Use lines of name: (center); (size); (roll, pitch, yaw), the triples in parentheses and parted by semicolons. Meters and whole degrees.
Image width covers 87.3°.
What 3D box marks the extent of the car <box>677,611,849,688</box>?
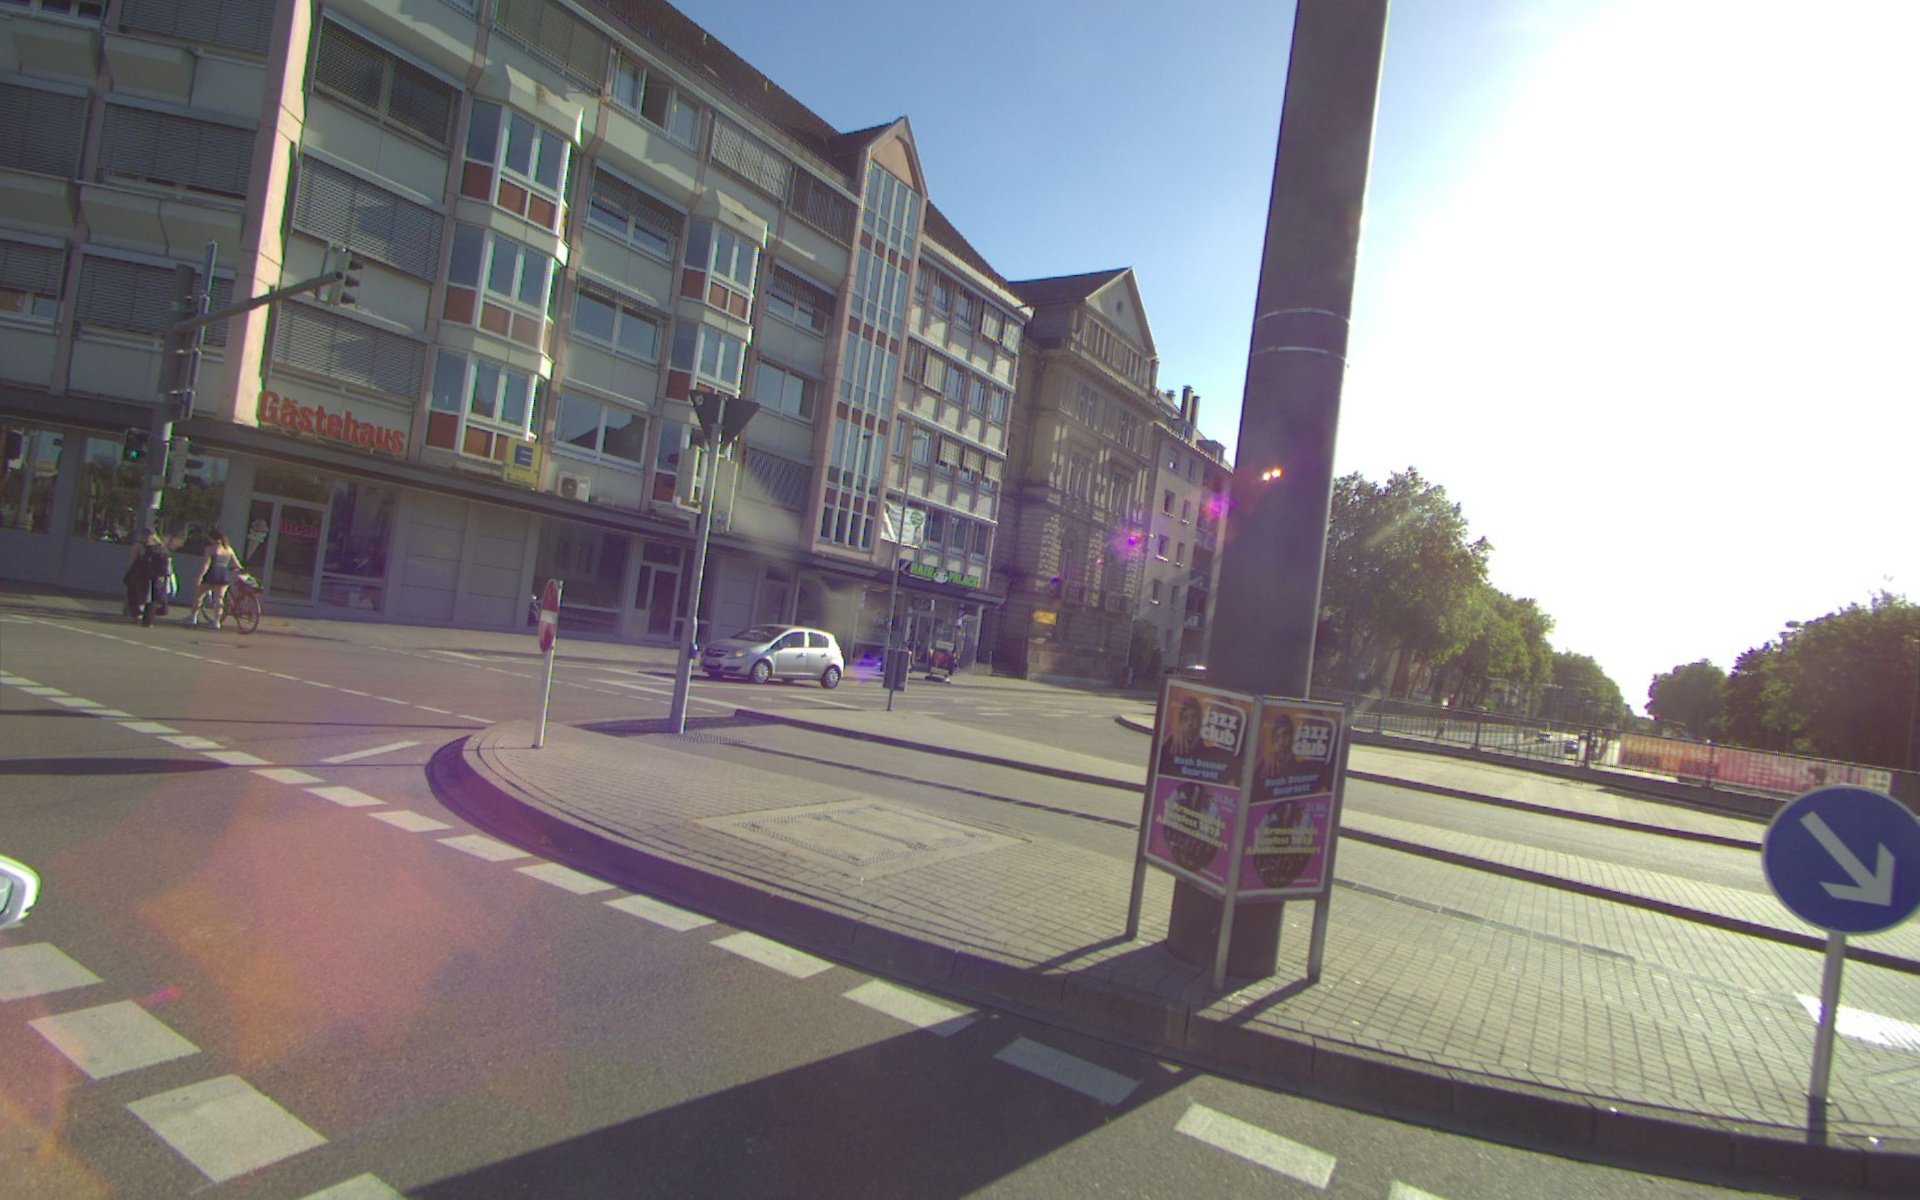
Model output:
car: (-4.730, 1.247, 24.648); (1.776, 1.447, 3.845); (5, -4, 36)

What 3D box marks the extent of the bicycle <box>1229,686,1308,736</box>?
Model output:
bicycle: (8.842, 3.186, 28.888); (1.964, 1.092, 0.596); (7, -3, 35)

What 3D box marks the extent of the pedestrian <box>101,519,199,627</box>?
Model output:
pedestrian: (-13.317, -0.441, 16.553); (0.852, 1.594, 0.782); (9, -1, 27)

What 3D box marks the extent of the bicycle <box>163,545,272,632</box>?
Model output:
bicycle: (-13.296, -0.208, 18.014); (1.873, 1.299, 0.546); (7, -2, 22)

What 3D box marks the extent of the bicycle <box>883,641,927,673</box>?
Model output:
bicycle: (-2.101, 2.216, 38.844); (0.528, 1.061, 1.971); (7, -3, 33)

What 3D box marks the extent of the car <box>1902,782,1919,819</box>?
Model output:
car: (46.079, 9.635, 47.877); (1.668, 1.614, 3.875); (7, -2, 44)

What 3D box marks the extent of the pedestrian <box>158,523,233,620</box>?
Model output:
pedestrian: (-13.542, -0.507, 17.821); (0.851, 1.572, 0.527); (7, -2, 22)

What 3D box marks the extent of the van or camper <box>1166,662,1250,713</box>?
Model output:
van or camper: (11.913, 4.225, 48.044); (2.009, 1.974, 5.251); (7, -2, 34)
